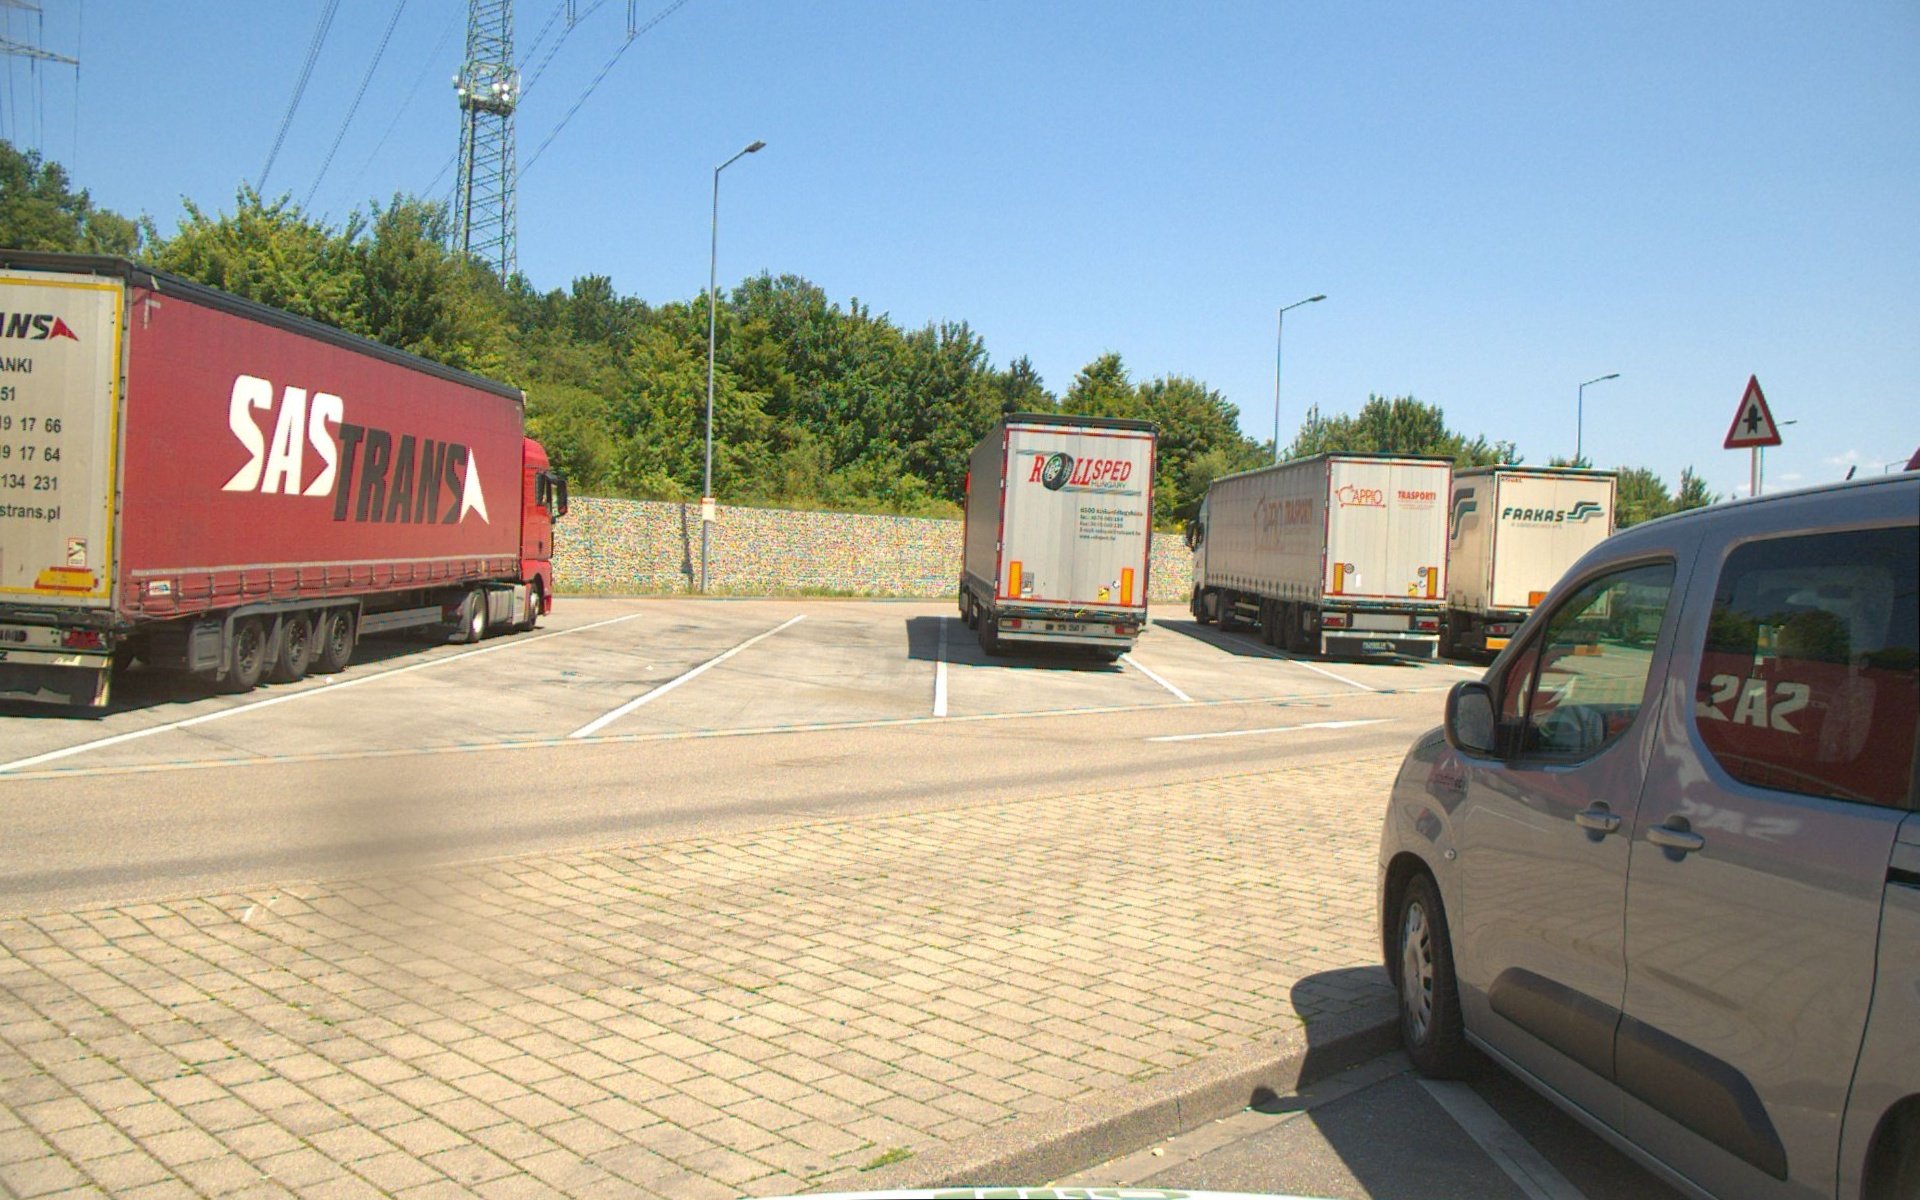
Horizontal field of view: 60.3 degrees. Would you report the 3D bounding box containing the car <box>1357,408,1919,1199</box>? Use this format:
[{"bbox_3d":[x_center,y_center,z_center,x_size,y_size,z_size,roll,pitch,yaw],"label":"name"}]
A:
[{"bbox_3d":[2.430,0.560,3.825,1.790,1.784,3.997,1,1,-4],"label":"car"}]

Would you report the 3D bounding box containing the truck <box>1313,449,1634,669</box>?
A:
[{"bbox_3d":[11.715,-0.955,40.002,2.846,4.195,14.525,3,1,-1],"label":"truck"}]

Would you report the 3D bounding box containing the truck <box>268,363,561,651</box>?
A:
[{"bbox_3d":[-8.776,-1.419,27.548,2.687,4.152,6.828,1,1,-1],"label":"truck"}]

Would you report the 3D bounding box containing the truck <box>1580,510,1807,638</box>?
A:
[{"bbox_3d":[21.957,-0.808,50.193,2.963,3.497,8.529,1,1,-1],"label":"truck"}]

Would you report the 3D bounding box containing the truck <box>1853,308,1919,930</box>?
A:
[{"bbox_3d":[4.976,0.132,4.946,1.952,2.669,5.305,1,1,3],"label":"truck"}]

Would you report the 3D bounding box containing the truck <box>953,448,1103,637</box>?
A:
[{"bbox_3d":[1.465,-1.379,39.453,2.965,3.997,6.845,2,2,-2],"label":"truck"}]

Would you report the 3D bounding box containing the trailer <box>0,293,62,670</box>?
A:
[{"bbox_3d":[-12.411,-1.308,15.457,2.689,4.337,9.733,1,1,0],"label":"trailer"}]

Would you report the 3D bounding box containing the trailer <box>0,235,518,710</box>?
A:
[{"bbox_3d":[-8.683,-1.258,21.067,2.694,4.128,13.285,1,1,-1],"label":"trailer"}]

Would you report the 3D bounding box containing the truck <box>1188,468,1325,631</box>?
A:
[{"bbox_3d":[8.070,-1.358,45.618,2.701,4.196,5.283,1,1,-1],"label":"truck"}]

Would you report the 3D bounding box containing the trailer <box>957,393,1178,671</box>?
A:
[{"bbox_3d":[1.697,-1.313,32.687,3.008,4.301,12.805,2,2,-2],"label":"trailer"}]

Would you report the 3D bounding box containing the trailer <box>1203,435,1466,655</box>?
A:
[{"bbox_3d":[8.206,-1.195,38.617,2.818,4.196,13.569,1,1,-1],"label":"trailer"}]
